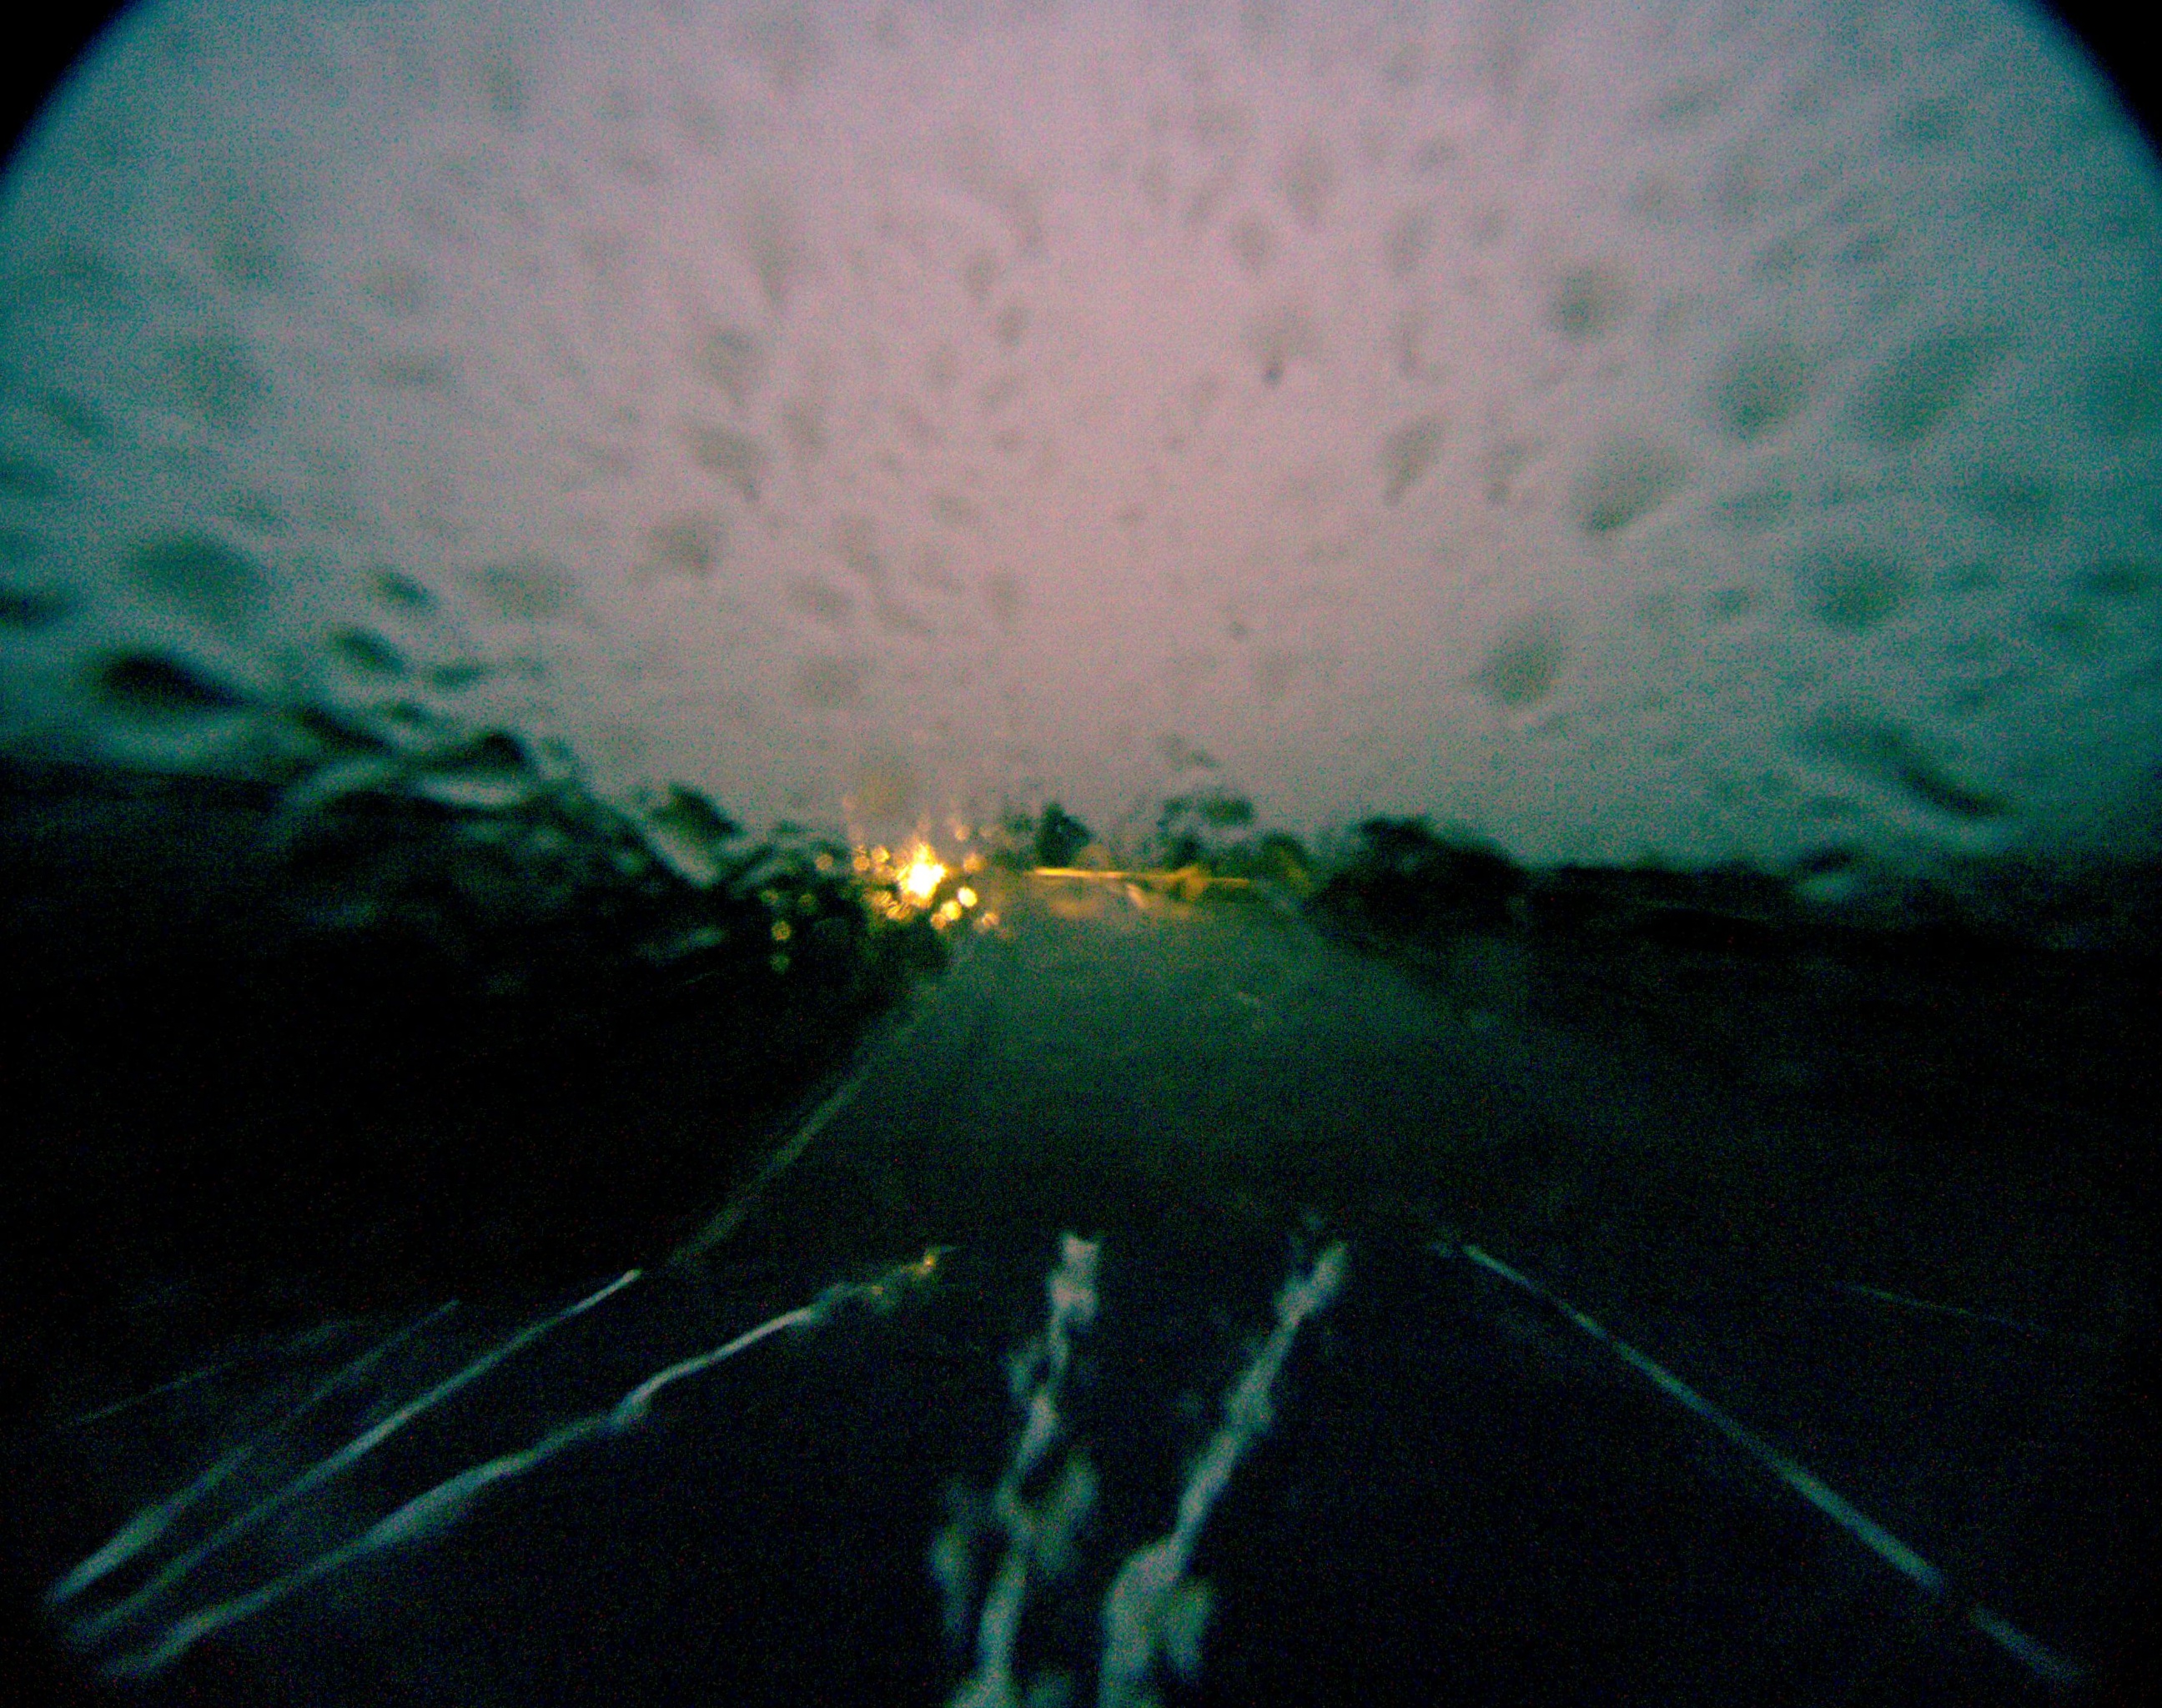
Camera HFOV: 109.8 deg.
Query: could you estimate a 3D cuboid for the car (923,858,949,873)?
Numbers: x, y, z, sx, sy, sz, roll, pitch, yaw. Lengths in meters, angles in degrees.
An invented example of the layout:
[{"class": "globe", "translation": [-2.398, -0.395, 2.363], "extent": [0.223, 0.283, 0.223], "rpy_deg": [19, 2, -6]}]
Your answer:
[{"class": "car", "translation": [-16.267, 1.249, 84.964], "extent": [2.106, 1.566, 4.791], "rpy_deg": [0, 0, -20]}]
